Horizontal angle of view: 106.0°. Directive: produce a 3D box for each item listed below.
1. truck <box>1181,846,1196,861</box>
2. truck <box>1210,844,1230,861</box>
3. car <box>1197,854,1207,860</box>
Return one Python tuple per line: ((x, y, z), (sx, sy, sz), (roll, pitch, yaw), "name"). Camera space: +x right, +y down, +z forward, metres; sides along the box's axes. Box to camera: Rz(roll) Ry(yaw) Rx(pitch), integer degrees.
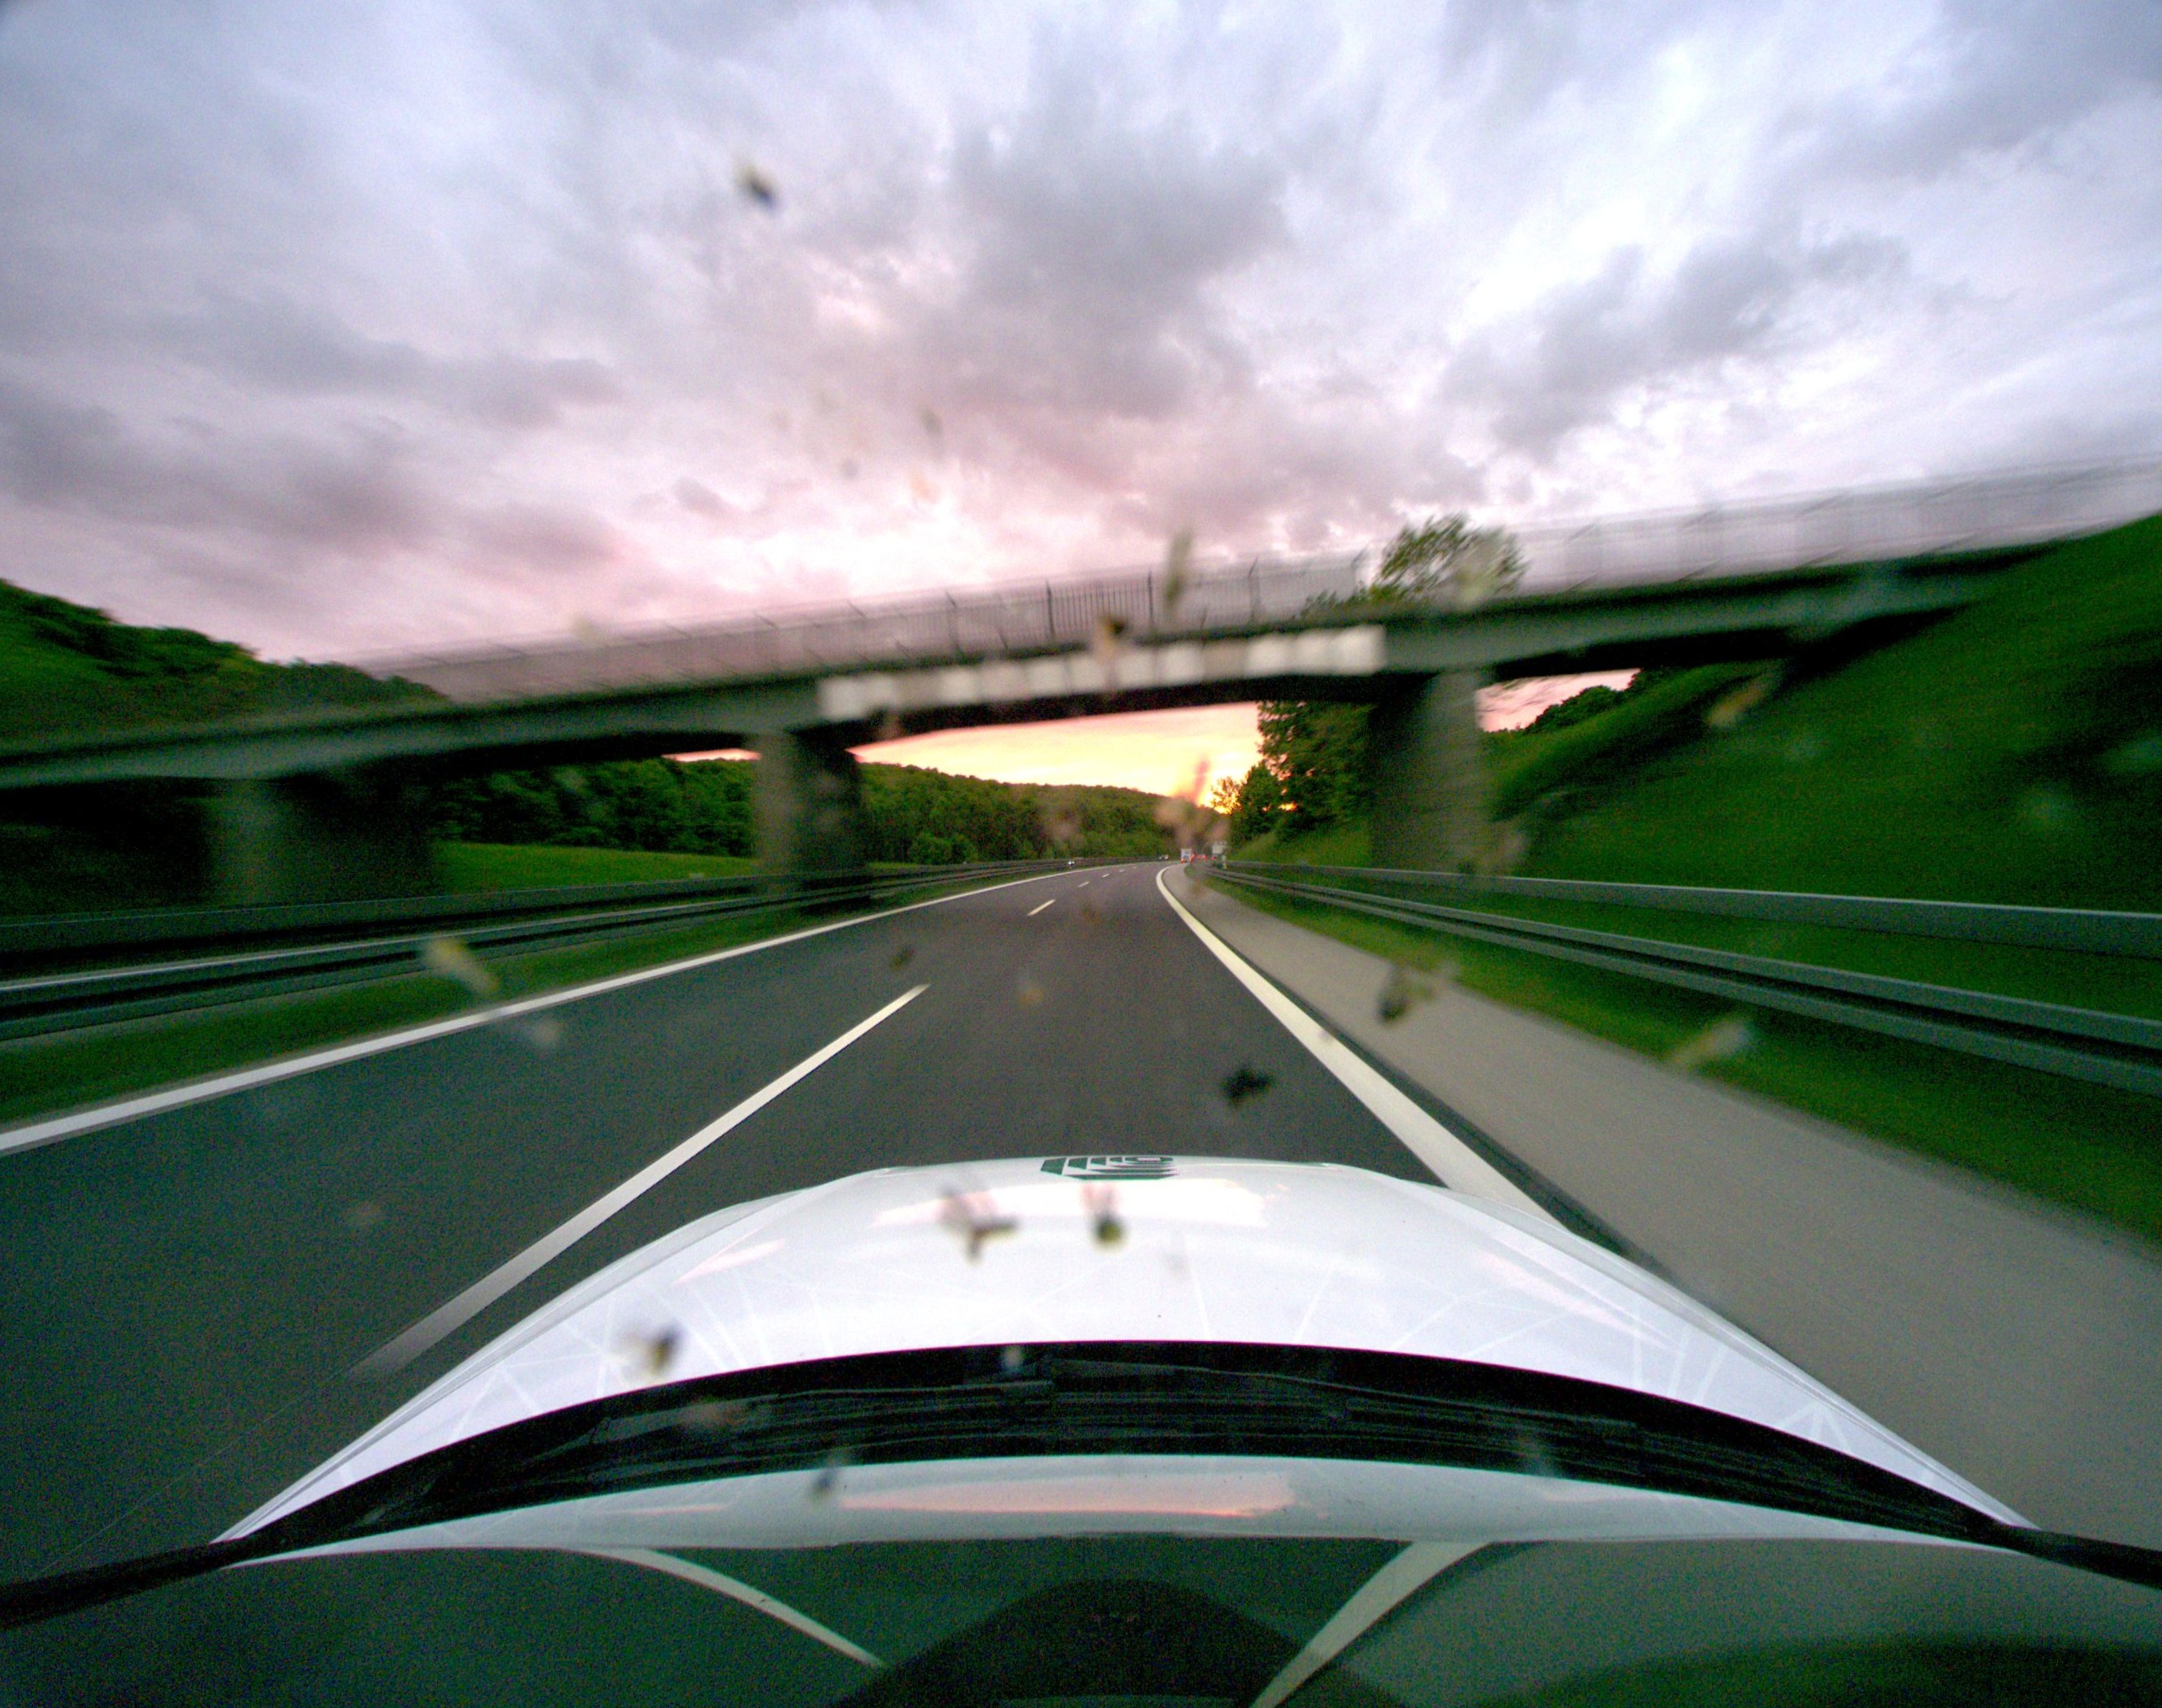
((20.869, -0.178, 158.383), (2.260, 2.664, 5.255), (-3, 1, 13), "truck")
((37.368, -0.355, 218.039), (3.929, 4.287, 14.381), (-2, 0, 15), "truck")
((31.774, 0.759, 213.986), (1.979, 1.517, 4.015), (-2, 0, 14), "car")
